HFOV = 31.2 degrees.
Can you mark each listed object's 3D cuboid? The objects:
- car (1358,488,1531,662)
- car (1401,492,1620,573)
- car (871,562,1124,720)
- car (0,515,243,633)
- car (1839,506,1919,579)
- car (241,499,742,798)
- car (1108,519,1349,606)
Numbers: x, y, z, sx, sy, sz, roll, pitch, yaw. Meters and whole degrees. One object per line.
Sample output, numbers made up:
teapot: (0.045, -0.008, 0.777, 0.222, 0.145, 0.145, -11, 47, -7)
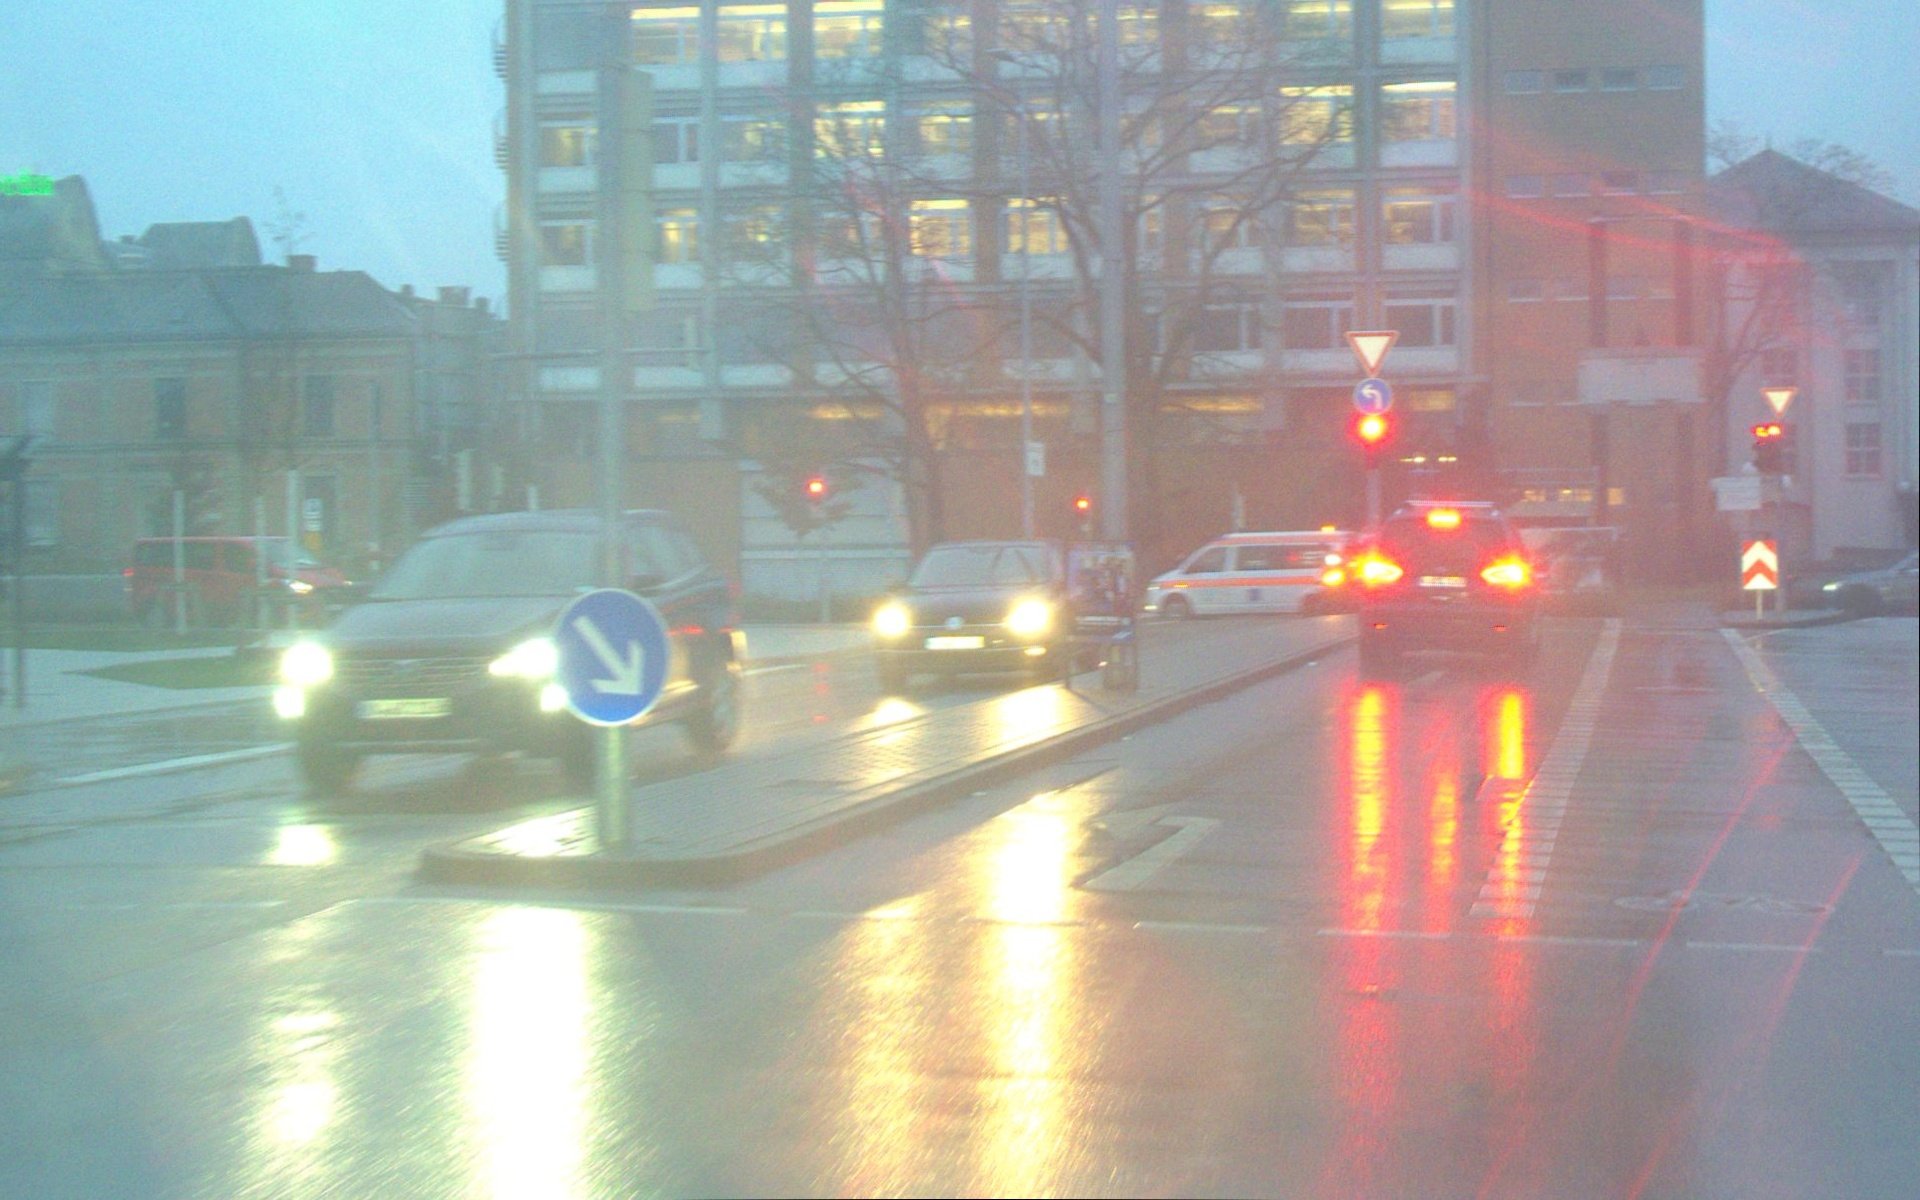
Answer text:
car: (5.451, -0.317, 38.379, 1.648, 1.812, 3.998, 1, 2, 11)
car: (14.843, -1.819, 92.595, 5.551, 2.017, 1.998, 1, -1, 18)
car: (0.447, 0.367, 34.260, 1.747, 1.373, 4.365, -2, 1, 11)
car: (-17.293, -0.536, 69.781, 5.029, 2.274, 2.255, 1, -1, 28)
car: (20.659, -1.198, 72.373, 3.922, 1.480, 1.467, 1, -1, 27)
car: (-2.803, 0.226, 21.672, 1.755, 1.656, 4.528, -1, 1, 11)
car: (6.179, -0.877, 79.335, 5.162, 1.906, 1.996, 1, 1, 27)
